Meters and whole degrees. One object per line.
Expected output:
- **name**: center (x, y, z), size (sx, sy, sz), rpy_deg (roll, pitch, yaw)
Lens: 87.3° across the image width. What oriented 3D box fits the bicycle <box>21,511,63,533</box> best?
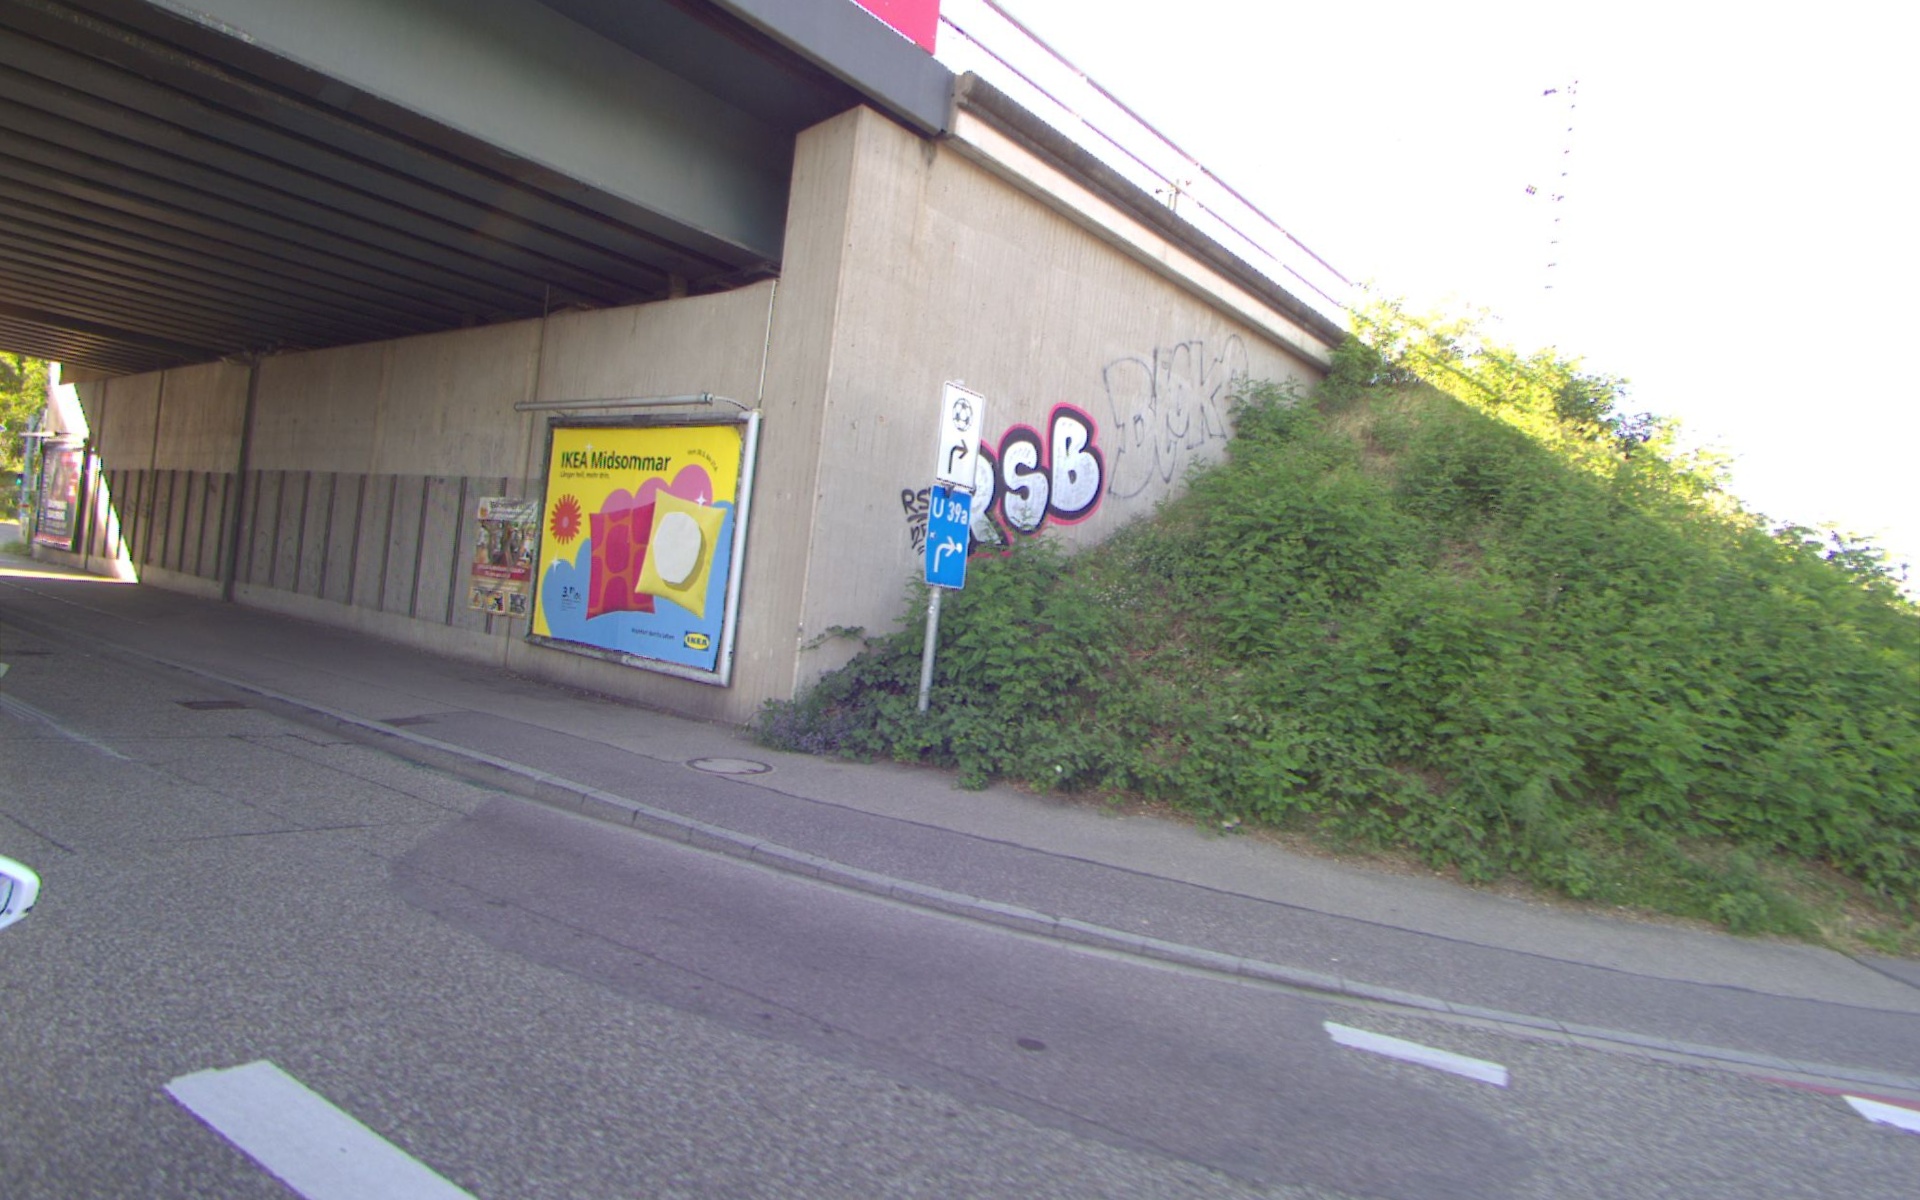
- **bicycle**: center (-53.197, -4.499, 58.322), size (1.652, 1.004, 0.572), rpy_deg (7, 3, -36)
